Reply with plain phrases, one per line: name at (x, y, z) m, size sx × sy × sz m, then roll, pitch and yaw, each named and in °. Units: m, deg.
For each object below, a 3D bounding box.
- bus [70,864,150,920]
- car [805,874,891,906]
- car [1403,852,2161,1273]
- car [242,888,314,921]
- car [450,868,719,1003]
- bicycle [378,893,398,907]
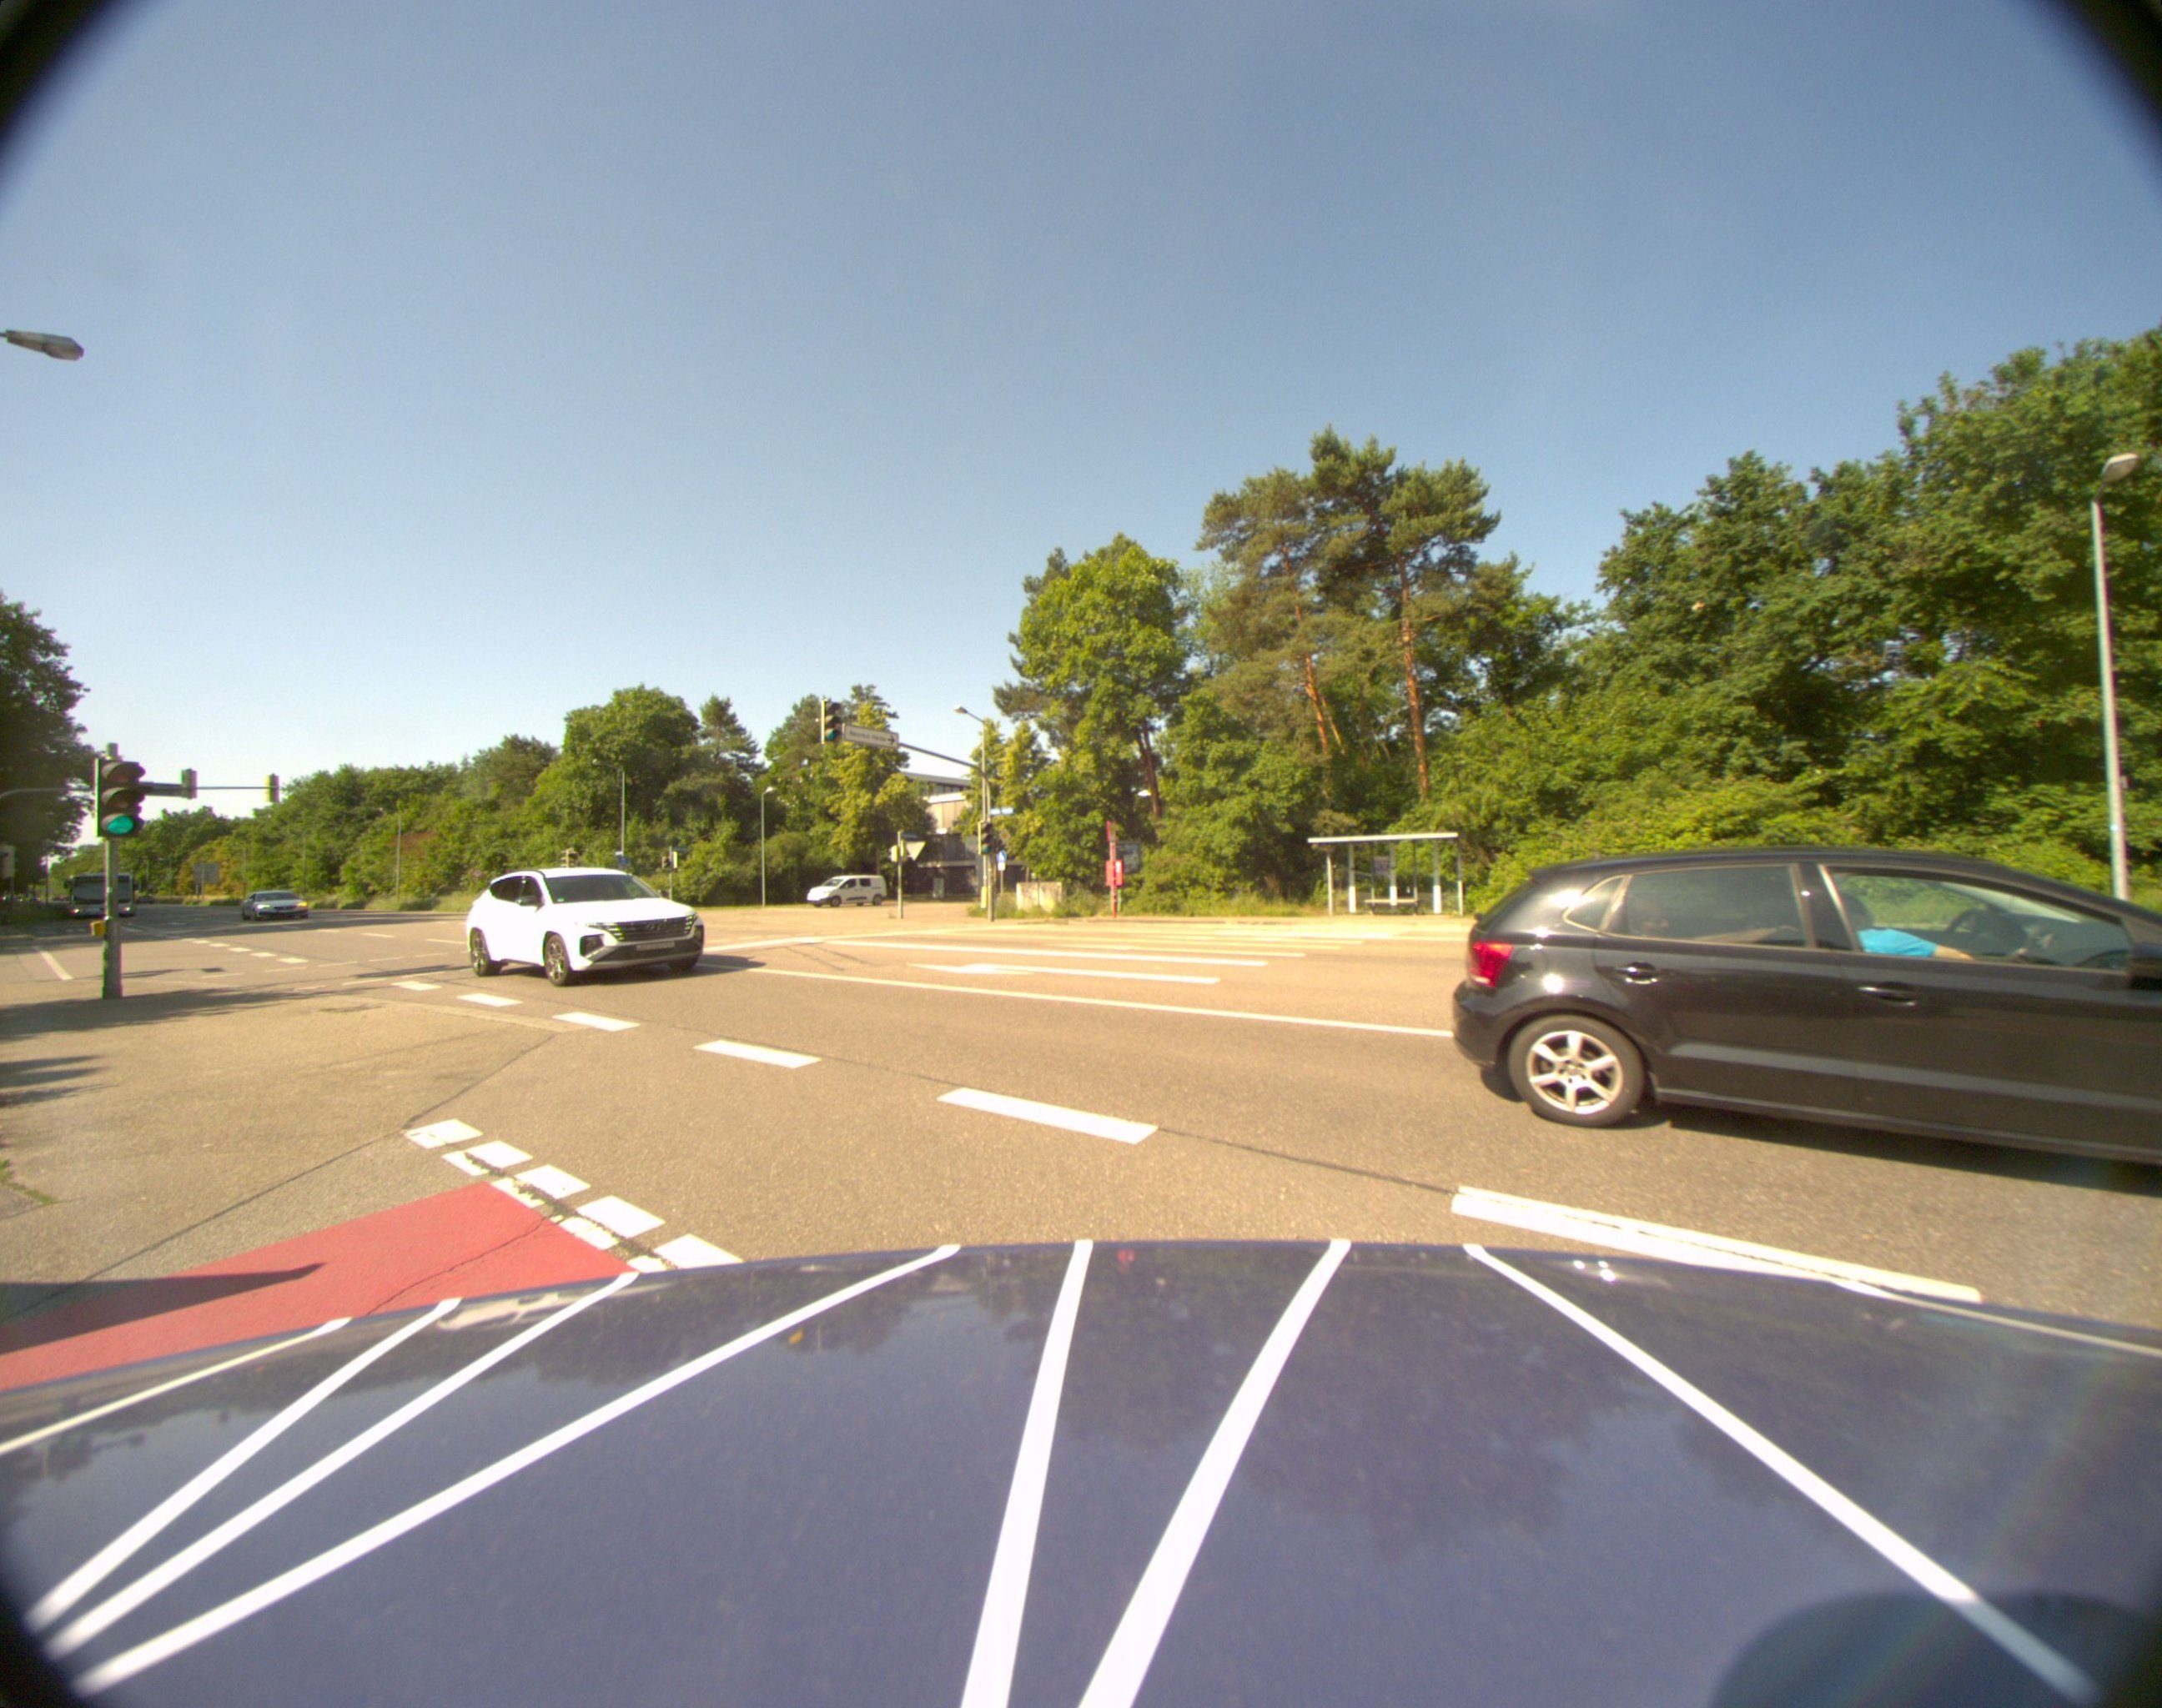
bus at (-65.132, 2.478, 50.924) m, size 7.772 × 3.437 × 2.789 m, roll -2°, pitch 1°, yaw 35°
car at (-13.575, 2.076, 44.558) m, size 1.847 × 1.767 × 4.672 m, roll -1°, pitch -2°, yaw 36°
car at (3.910, 0.772, 3.648) m, size 4.044 × 1.423 × 1.654 m, roll -2°, pitch 1°, yaw 35°
car at (-40.066, 2.496, 37.885) m, size 4.411 × 1.416 × 1.793 m, roll -3°, pitch 0°, yaw 36°
car at (-7.631, 1.117, 11.558) m, size 4.296 × 1.639 × 1.817 m, roll -2°, pitch 0°, yaw 34°
bicycle at (-60.431, 3.996, 66.278) m, size 2.366 × 1.156 × 0.736 m, roll -2°, pitch -1°, yaw 34°
